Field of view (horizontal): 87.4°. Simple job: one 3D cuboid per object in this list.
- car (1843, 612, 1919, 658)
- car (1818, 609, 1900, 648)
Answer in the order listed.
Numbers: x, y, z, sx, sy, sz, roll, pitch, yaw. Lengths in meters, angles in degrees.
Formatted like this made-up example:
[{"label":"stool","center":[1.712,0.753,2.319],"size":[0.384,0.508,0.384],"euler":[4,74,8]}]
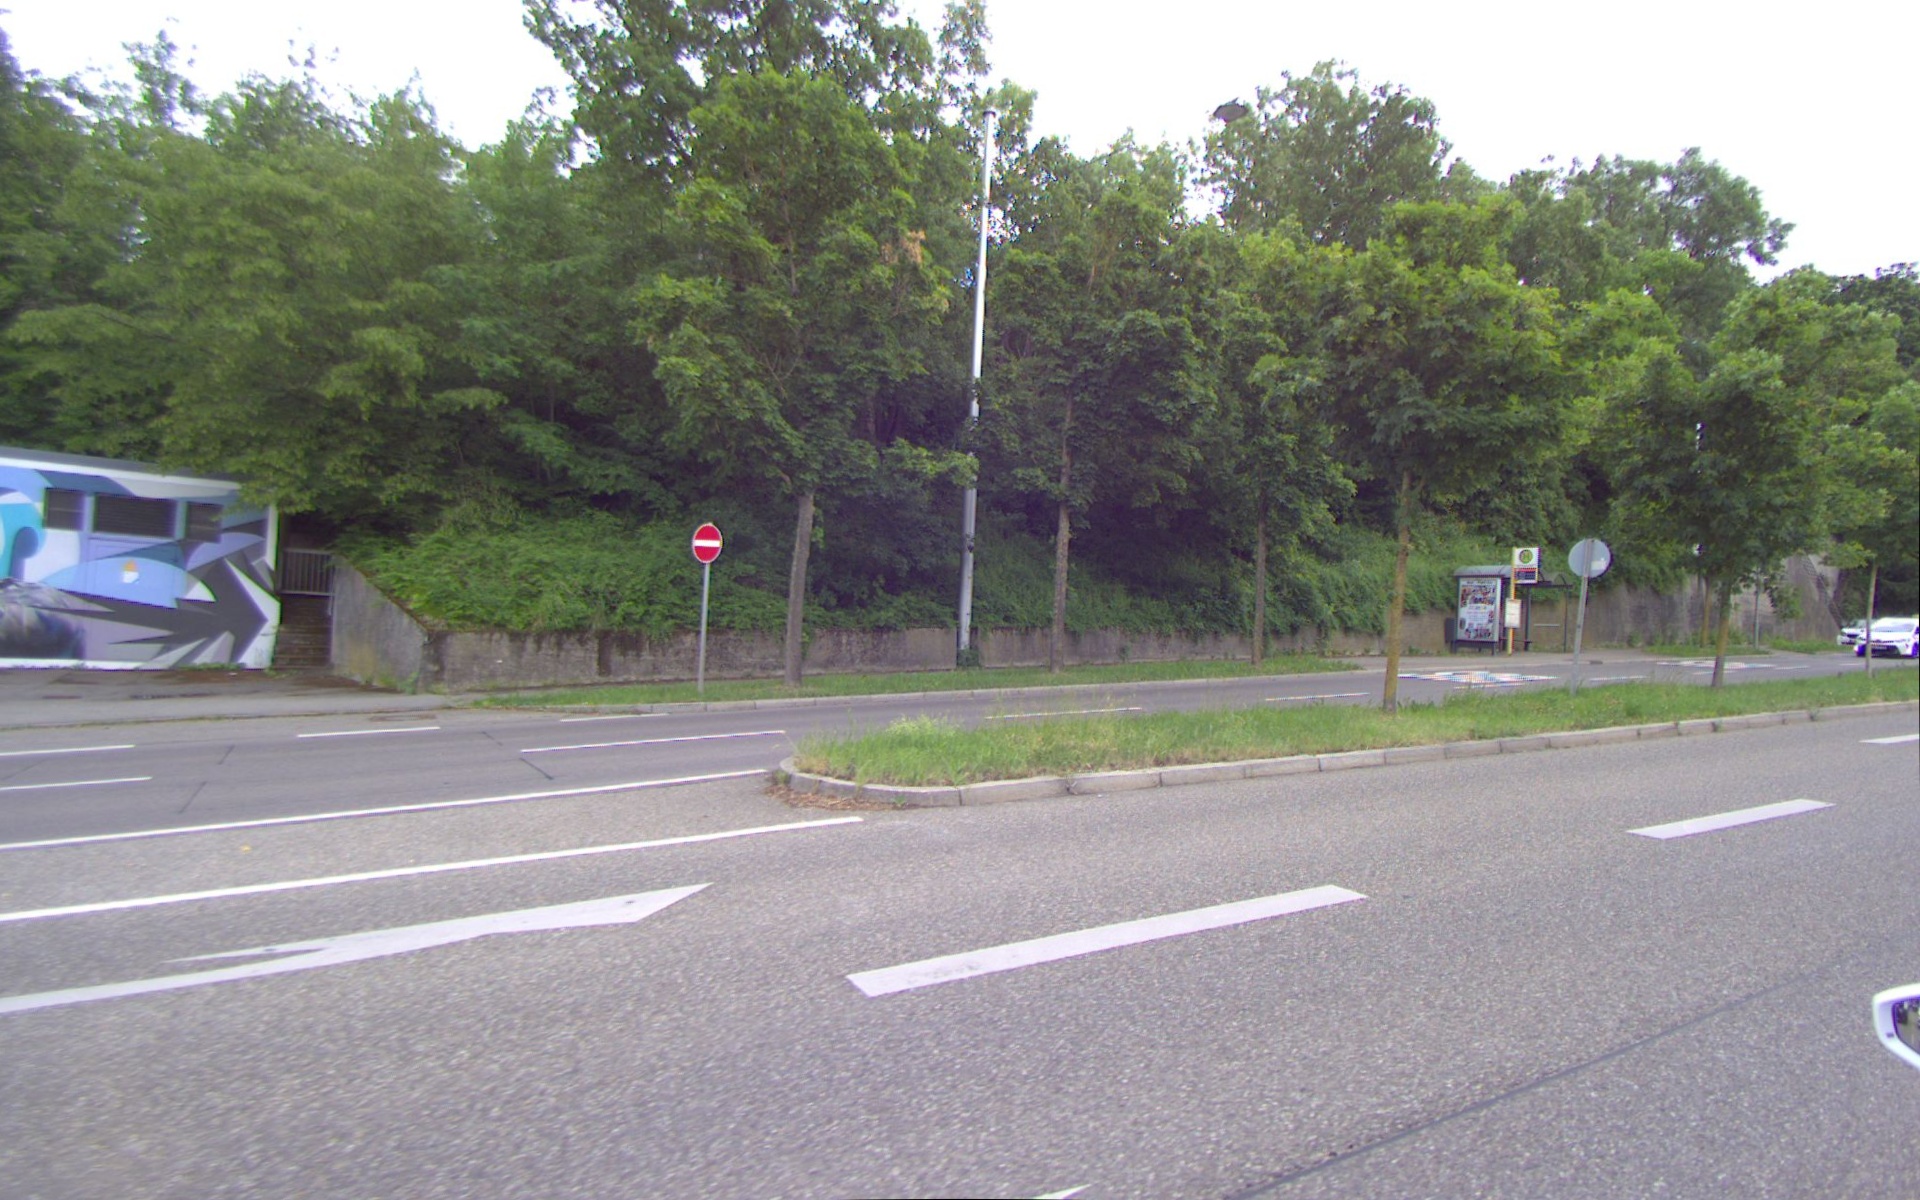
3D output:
[{"label":"car","center":[37.821,1.389,40.737],"size":[4.232,1.693,1.849],"euler":[0,2,-32]},{"label":"car","center":[42.935,1.334,47.958],"size":[4.233,1.693,1.849],"euler":[0,2,-33]}]
